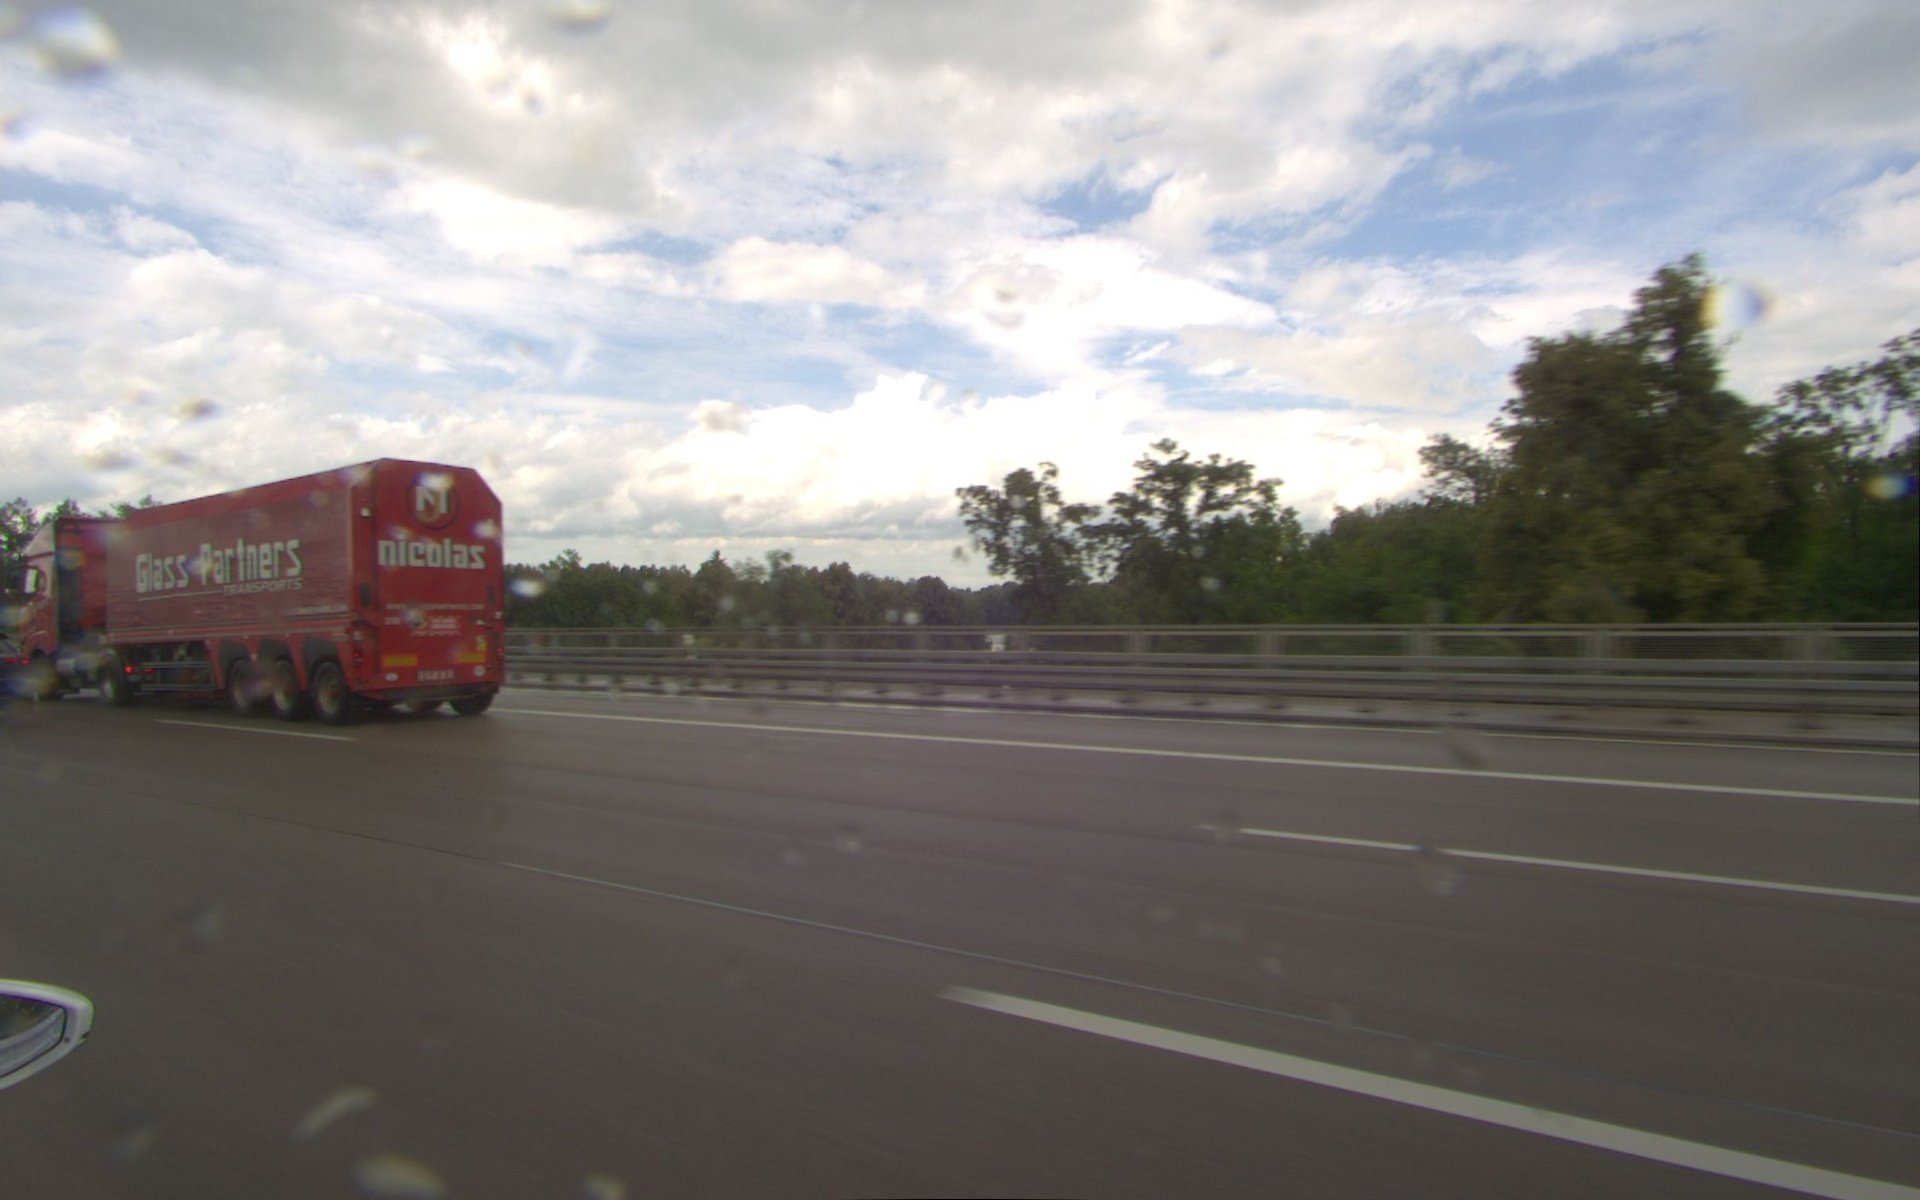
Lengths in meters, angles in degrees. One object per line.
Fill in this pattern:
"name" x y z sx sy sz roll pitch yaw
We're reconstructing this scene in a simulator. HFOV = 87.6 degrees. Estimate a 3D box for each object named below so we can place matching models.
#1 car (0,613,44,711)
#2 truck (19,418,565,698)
"car" -17.170 1.019 16.761 3.668 1.582 1.789 -1 -1 32
"truck" -14.102 -0.517 20.004 15.412 4.055 3.146 -1 -1 32
